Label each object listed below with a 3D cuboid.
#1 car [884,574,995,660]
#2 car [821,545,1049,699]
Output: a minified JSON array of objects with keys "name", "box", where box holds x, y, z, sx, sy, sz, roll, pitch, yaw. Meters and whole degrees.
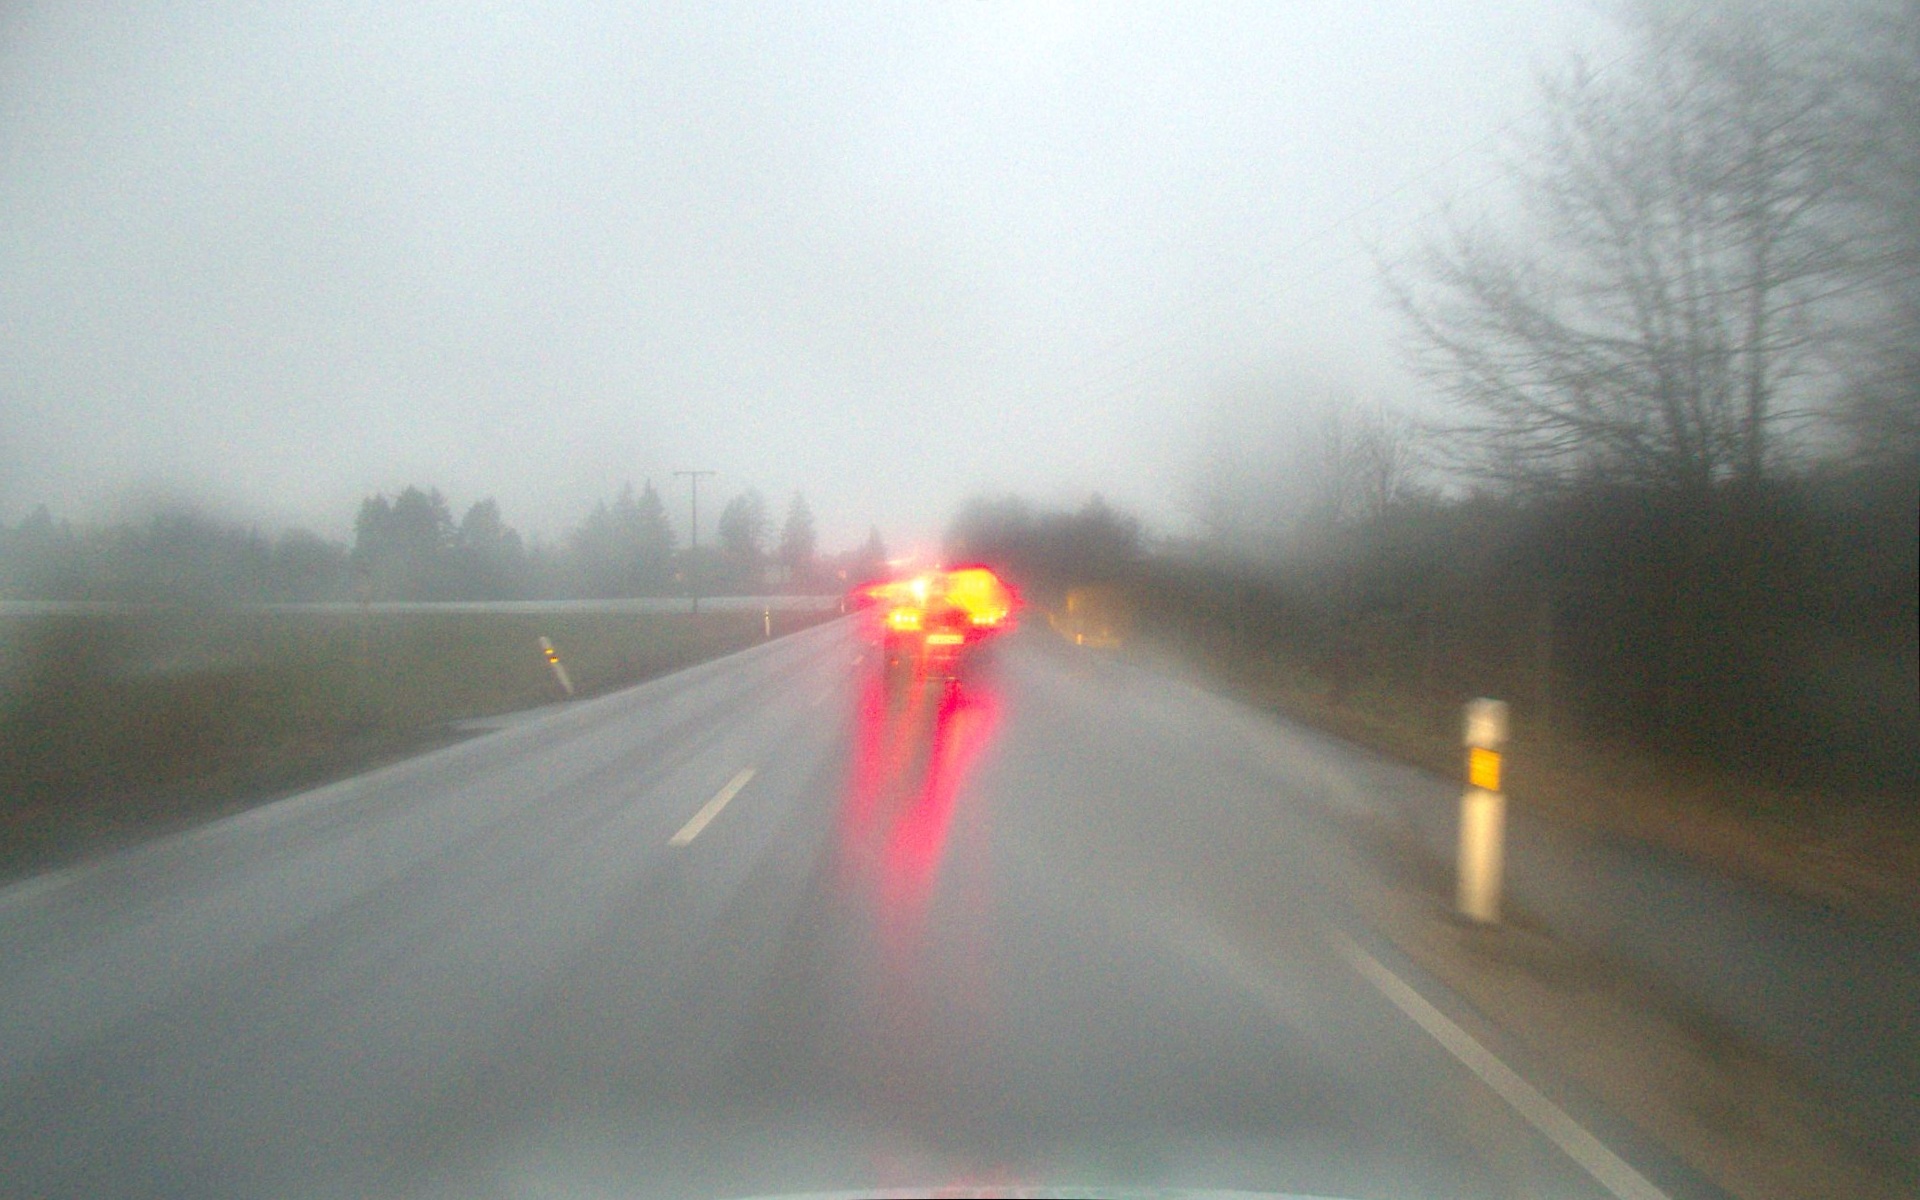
[{"name":"car","box":[-0.537,0.380,43.981,2.700,2.071,6.590,-1,1,-1]},{"name":"car","box":[-0.364,0.264,26.064,3.100,2.071,6.851,-1,1,-1]}]
